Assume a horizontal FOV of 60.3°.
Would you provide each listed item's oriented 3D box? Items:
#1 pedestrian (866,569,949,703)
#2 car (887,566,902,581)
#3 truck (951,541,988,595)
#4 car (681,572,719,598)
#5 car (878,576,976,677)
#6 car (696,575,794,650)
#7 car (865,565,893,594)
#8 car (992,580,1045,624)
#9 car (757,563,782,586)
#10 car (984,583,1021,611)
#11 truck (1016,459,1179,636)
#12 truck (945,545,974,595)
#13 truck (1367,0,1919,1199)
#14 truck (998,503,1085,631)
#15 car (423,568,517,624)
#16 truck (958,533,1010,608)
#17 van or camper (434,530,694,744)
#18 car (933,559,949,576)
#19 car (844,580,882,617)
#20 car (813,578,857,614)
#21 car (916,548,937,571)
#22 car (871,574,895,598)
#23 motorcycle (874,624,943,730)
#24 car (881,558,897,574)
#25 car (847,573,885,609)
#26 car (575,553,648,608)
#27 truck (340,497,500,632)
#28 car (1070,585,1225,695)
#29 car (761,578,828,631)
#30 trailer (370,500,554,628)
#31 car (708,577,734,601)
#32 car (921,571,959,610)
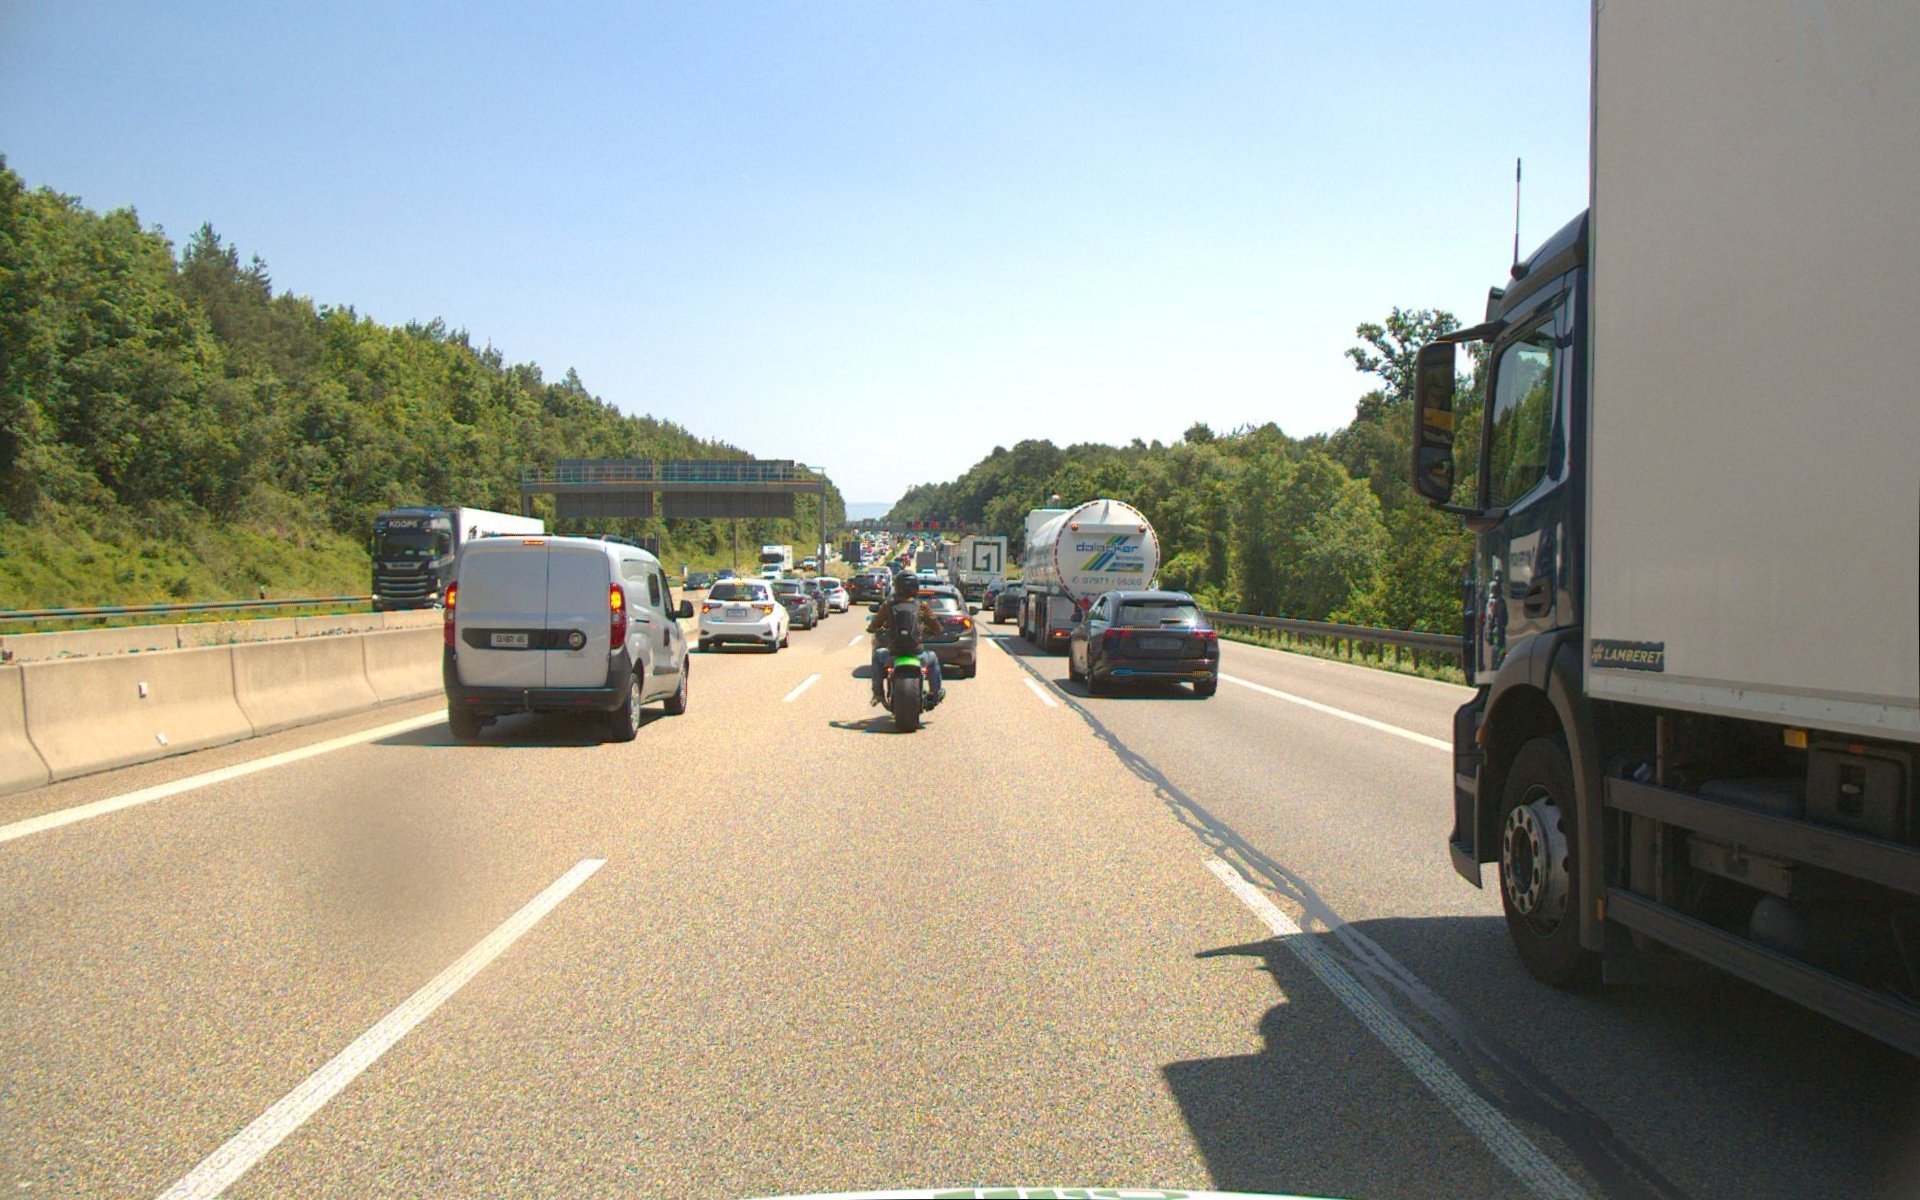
[{"bbox_3d":[-0.563,0.377,18.043,0.832,1.385,0.961,-2,0,0],"label":"pedestrian"},{"bbox_3d":[-9.346,-3.818,236.489,1.953,2.049,3.999,0,1,-1],"label":"car"},{"bbox_3d":[0.783,-2.865,147.943,2.972,4.621,9.980,1,1,-1],"label":"truck"},{"bbox_3d":[-16.277,-0.956,103.740,1.842,1.621,3.999,0,1,-1],"label":"car"},{"bbox_3d":[-0.587,0.410,28.297,1.502,1.536,3.999,-2,0,-2],"label":"car"},{"bbox_3d":[-4.559,0.232,35.539,1.665,1.504,3.999,0,1,-1],"label":"car"},{"bbox_3d":[-6.091,-1.548,125.370,1.890,2.049,3.999,-2,0,-1],"label":"car"},{"bbox_3d":[2.142,0.059,61.665,1.751,1.583,3.802,0,1,-1],"label":"car"},{"bbox_3d":[-18.185,-2.440,158.196,1.842,2.048,4.467,-3,0,-1],"label":"car"},{"bbox_3d":[2.146,-0.189,84.742,1.751,1.398,3.802,0,1,-1],"label":"car"},{"bbox_3d":[3.137,-1.117,40.453,2.927,3.735,9.285,-2,0,-1],"label":"truck"},{"bbox_3d":[-0.100,-3.203,178.930,2.972,5.229,9.980,1,1,-1],"label":"truck"},{"bbox_3d":[3.499,-0.428,3.225,2.634,3.943,9.777,-3,0,-1],"label":"truck"},{"bbox_3d":[2.379,-0.930,49.394,1.954,3.584,4.748,-2,0,-3],"label":"truck"},{"bbox_3d":[-15.412,-0.120,52.271,1.652,1.635,4.513,-2,0,-1],"label":"car"},{"bbox_3d":[1.512,-1.914,108.034,2.972,4.621,9.980,1,1,-1],"label":"truck"},{"bbox_3d":[-3.903,0.342,16.995,1.759,1.925,4.158,0,0,-2],"label":"van or camper"},{"bbox_3d":[-2.466,-4.231,215.104,1.953,2.049,3.999,-2,0,-1],"label":"car"},{"bbox_3d":[-5.668,-0.090,97.357,1.953,2.049,3.999,-2,0,-1],"label":"car"},{"bbox_3d":[-5.364,-0.204,71.515,1.665,1.504,3.999,0,1,-1],"label":"car"},{"bbox_3d":[-3.990,-4.753,196.288,2.453,2.632,5.015,0,1,-1],"label":"car"},{"bbox_3d":[-6.981,-1.251,150.735,1.953,2.049,3.999,-2,0,-1],"label":"car"},{"bbox_3d":[-0.534,0.799,17.893,0.677,1.033,2.121,0,0,0],"label":"motorcycle"},{"bbox_3d":[-9.229,-4.397,215.067,1.953,2.049,3.999,0,1,-1],"label":"car"},{"bbox_3d":[-5.002,-0.506,88.621,1.842,1.892,3.999,0,1,-1],"label":"car"},{"bbox_3d":[-16.017,-0.921,76.431,1.953,2.418,7.363,0,1,-1],"label":"car"},{"bbox_3d":[-19.997,-1.239,61.805,3.650,4.607,7.323,-2,0,-2],"label":"truck"},{"bbox_3d":[2.725,0.538,24.819,1.791,1.496,3.999,1,1,-1],"label":"car"},{"bbox_3d":[-4.876,0.111,49.071,1.665,1.504,3.999,0,1,-1],"label":"car"},{"bbox_3d":[-20.130,-1.305,68.111,3.649,4.607,13.327,-2,0,-1],"label":"trailer"},{"bbox_3d":[-21.998,-1.001,152.155,1.790,2.049,3.878,-2,0,-1],"label":"car"},{"bbox_3d":[-1.110,-0.506,91.790,1.953,2.049,3.999,-2,0,-1],"label":"car"}]
